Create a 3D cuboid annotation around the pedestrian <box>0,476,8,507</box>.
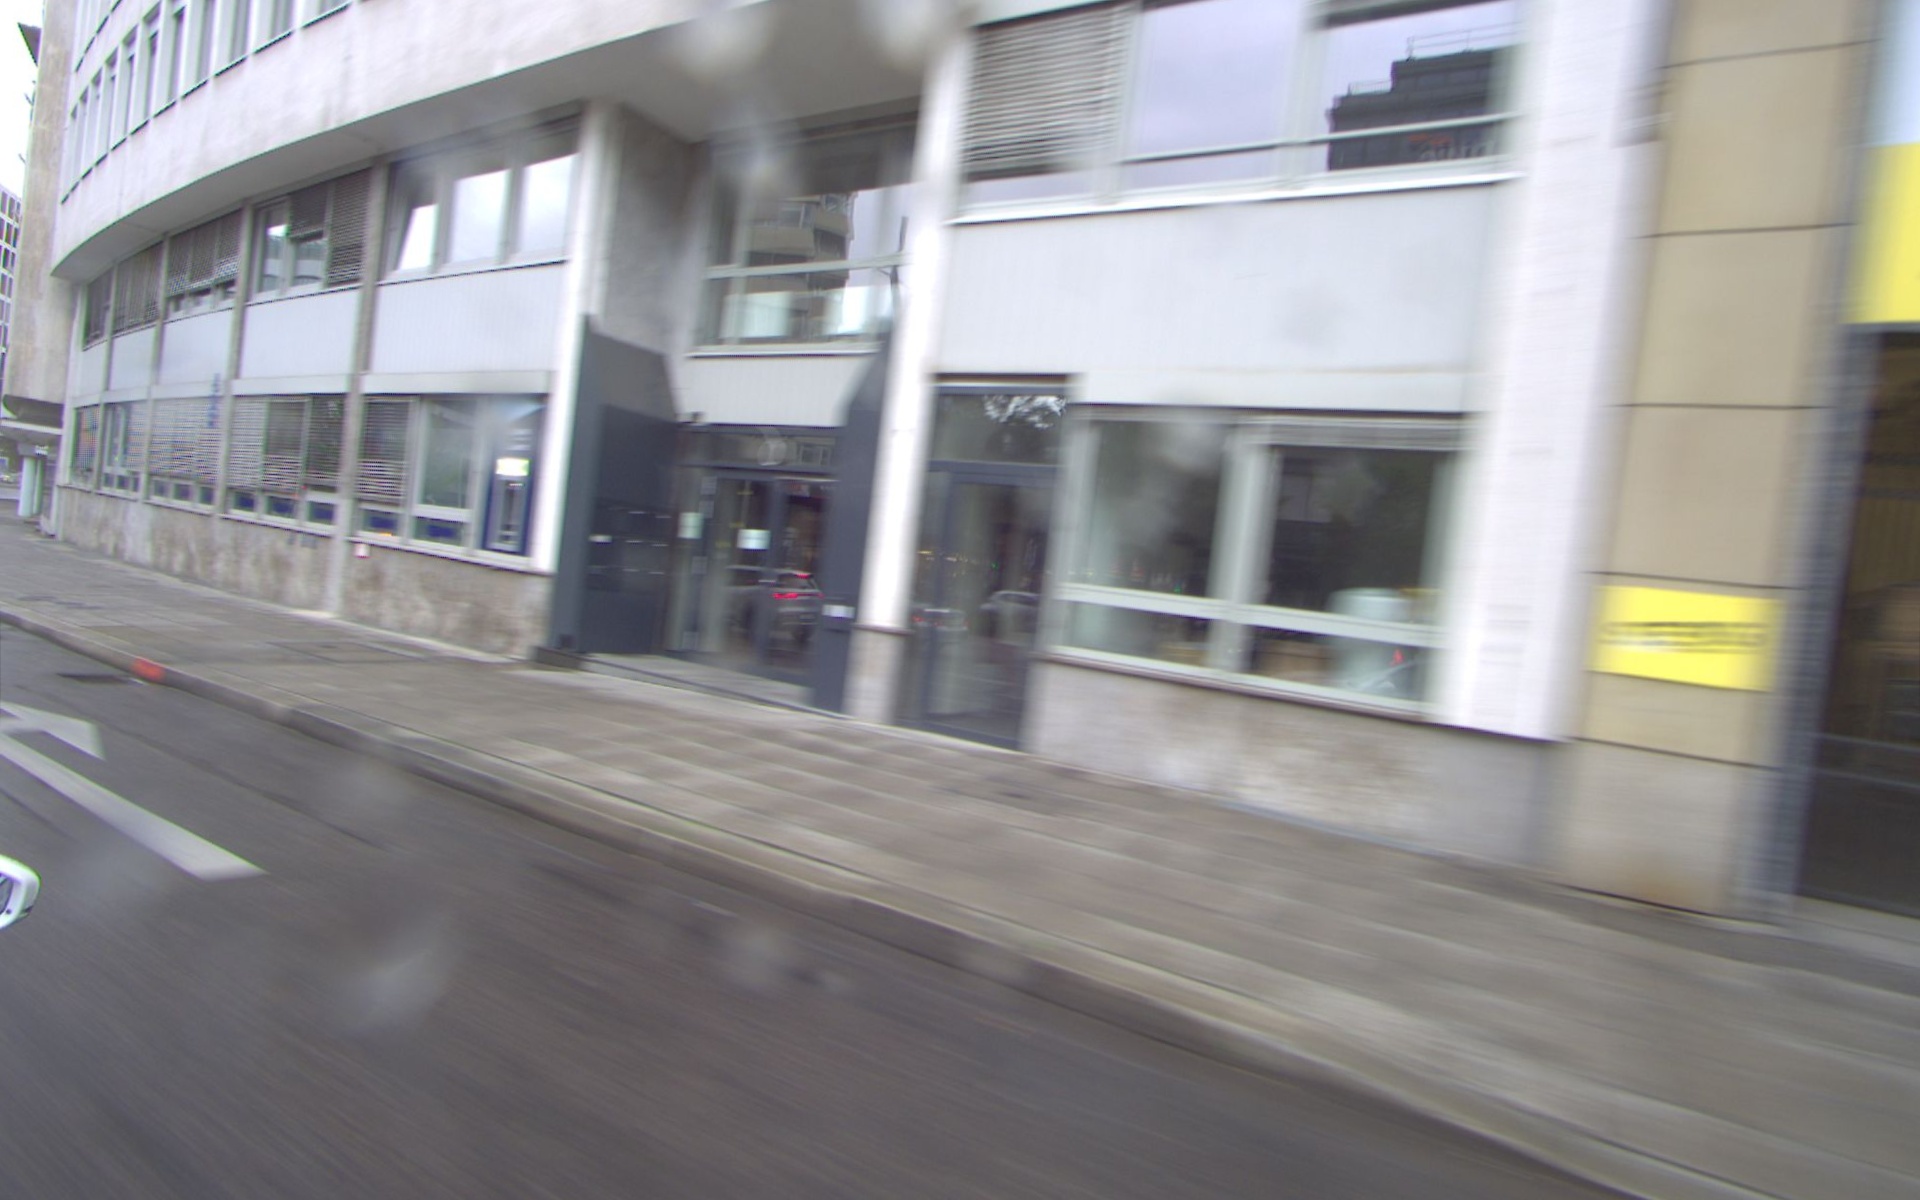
[{"bbox_3d":[-54.683,-6.197,57.133,0.724,1.689,0.683,7,0,-40],"label":"pedestrian"}]
